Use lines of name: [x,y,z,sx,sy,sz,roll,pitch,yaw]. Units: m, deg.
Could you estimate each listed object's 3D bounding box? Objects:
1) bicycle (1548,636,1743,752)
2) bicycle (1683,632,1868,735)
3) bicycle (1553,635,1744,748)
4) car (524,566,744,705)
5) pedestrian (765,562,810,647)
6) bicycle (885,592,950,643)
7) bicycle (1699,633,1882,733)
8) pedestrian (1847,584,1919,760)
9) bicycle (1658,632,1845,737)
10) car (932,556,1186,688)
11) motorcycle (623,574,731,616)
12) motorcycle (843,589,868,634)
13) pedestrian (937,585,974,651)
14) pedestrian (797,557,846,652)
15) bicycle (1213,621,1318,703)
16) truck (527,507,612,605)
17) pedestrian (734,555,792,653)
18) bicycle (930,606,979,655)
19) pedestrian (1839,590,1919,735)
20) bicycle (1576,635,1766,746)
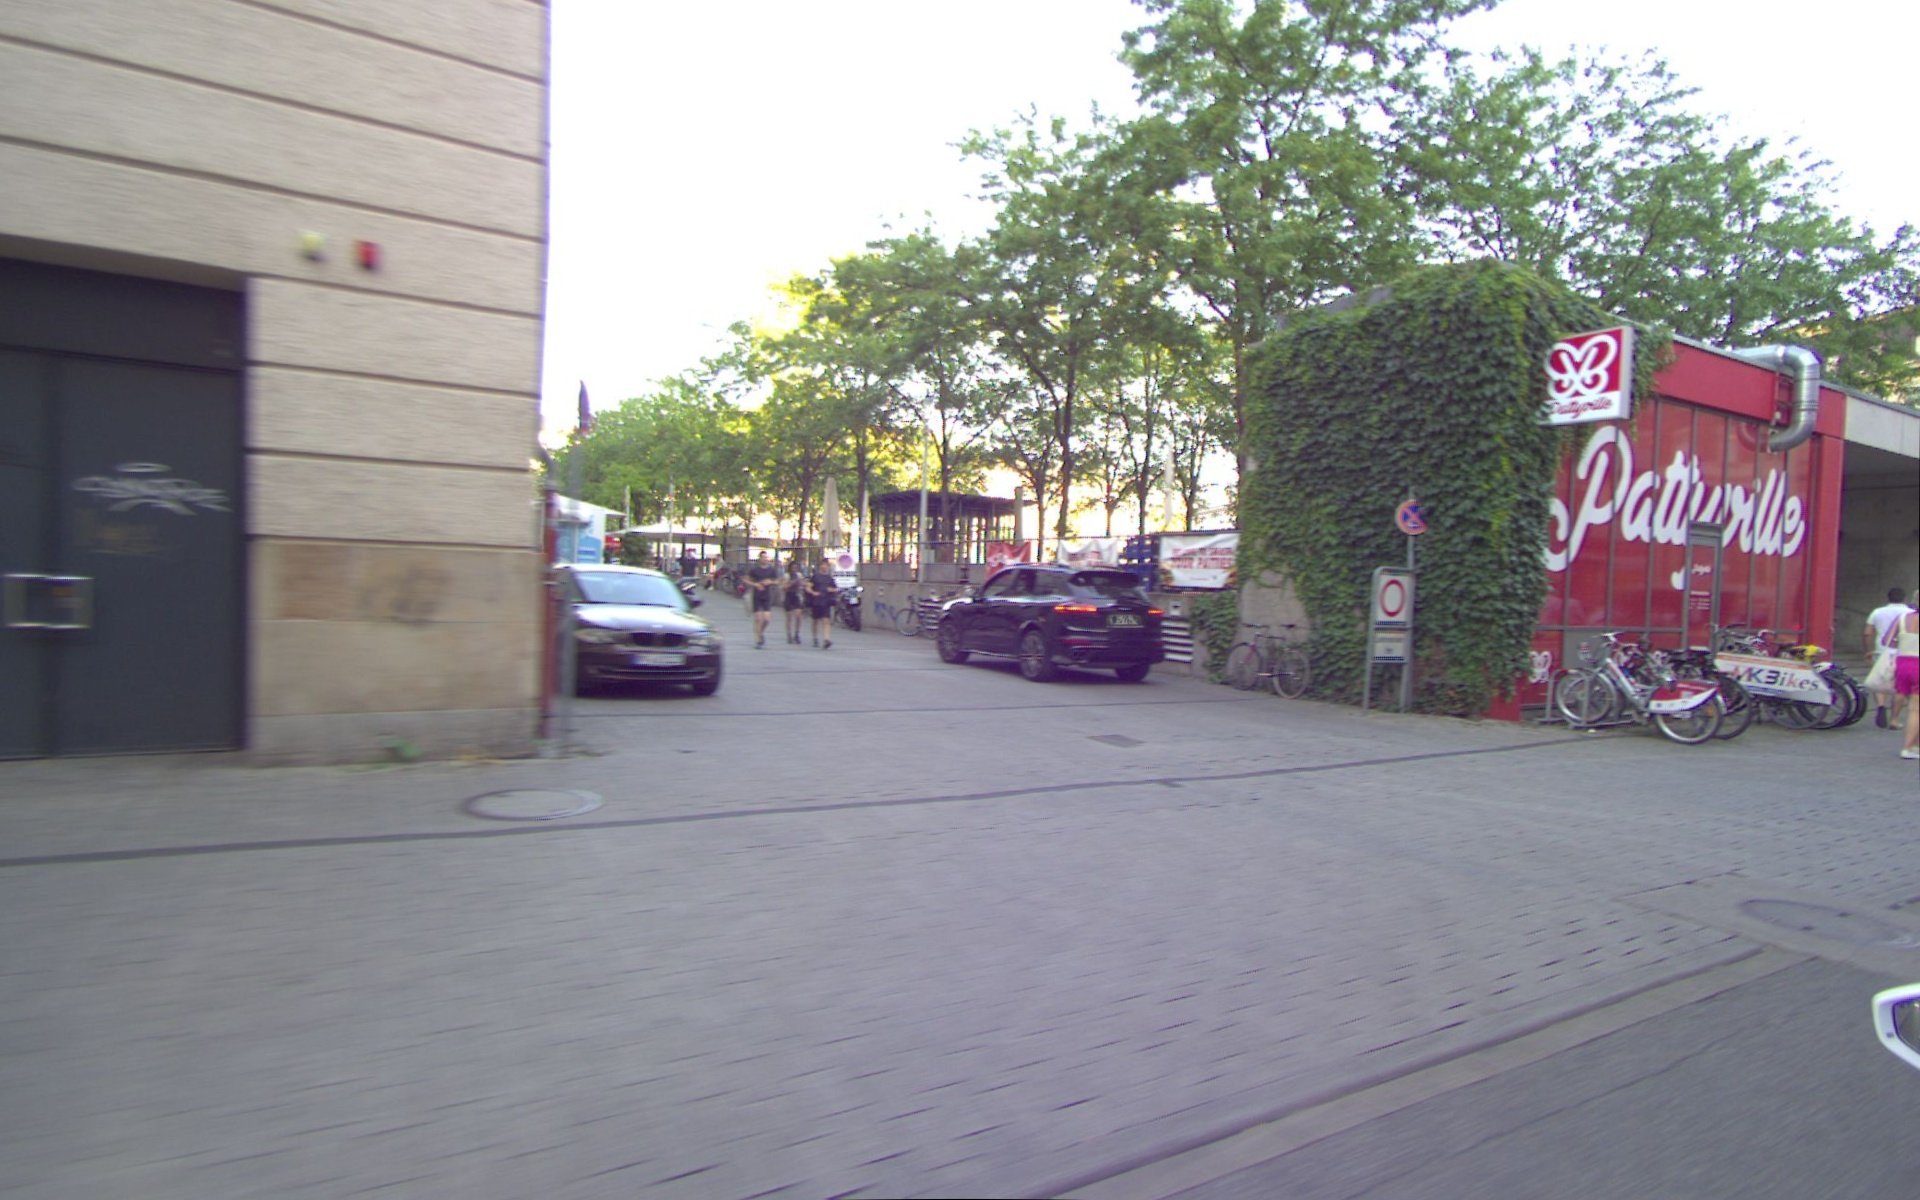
bicycle: [7.820,1.025,11.547,0.494,1.122,1.786,1,1,-29]
bicycle: [10.540,1.043,13.068,0.493,1.122,1.788,1,2,-26]
bicycle: [8.053,1.028,11.832,0.494,1.122,1.785,1,1,-30]
car: [-4.096,0.339,12.188,1.730,1.389,3.985,1,0,-30]
pedestrian: [-3.499,0.085,20.368,0.709,1.679,0.634,1,1,-27]
bicycle: [-1.030,0.408,23.977,0.496,1.122,1.778,1,2,-41]
bicycle: [10.937,1.054,13.309,0.493,1.122,1.788,1,2,-26]
pedestrian: [10.074,0.746,10.612,0.837,1.773,0.749,1,3,-30]
bicycle: [9.994,1.027,12.765,0.493,1.122,1.788,1,2,-26]
car: [1.386,0.284,15.873,2.040,1.783,4.204,1,0,-27]
motorcycle: [-7.966,-0.133,28.298,2.835,1.087,1.046,1,1,-21]
motorcycle: [-2.676,0.276,25.762,0.481,1.087,2.032,1,0,-2]
pedestrian: [-0.101,0.361,20.387,0.486,1.321,0.645,1,1,-27]
pedestrian: [-2.738,0.083,19.791,0.760,1.825,0.623,1,1,-27]
bicycle: [4.383,0.869,14.536,0.366,1.027,1.653,1,1,-28]
truck: [-12.775,-1.474,32.720,1.976,2.917,3.968,1,3,-29]
pedestrian: [-3.750,0.076,19.096,0.861,1.825,0.782,1,1,-27]
bicycle: [-0.120,0.611,20.408,0.488,0.941,1.193,1,1,-27]
pedestrian: [11.970,0.777,12.929,0.838,1.778,0.713,1,1,-31]
bicycle: [8.507,1.042,12.103,0.494,1.122,1.785,1,1,-30]
